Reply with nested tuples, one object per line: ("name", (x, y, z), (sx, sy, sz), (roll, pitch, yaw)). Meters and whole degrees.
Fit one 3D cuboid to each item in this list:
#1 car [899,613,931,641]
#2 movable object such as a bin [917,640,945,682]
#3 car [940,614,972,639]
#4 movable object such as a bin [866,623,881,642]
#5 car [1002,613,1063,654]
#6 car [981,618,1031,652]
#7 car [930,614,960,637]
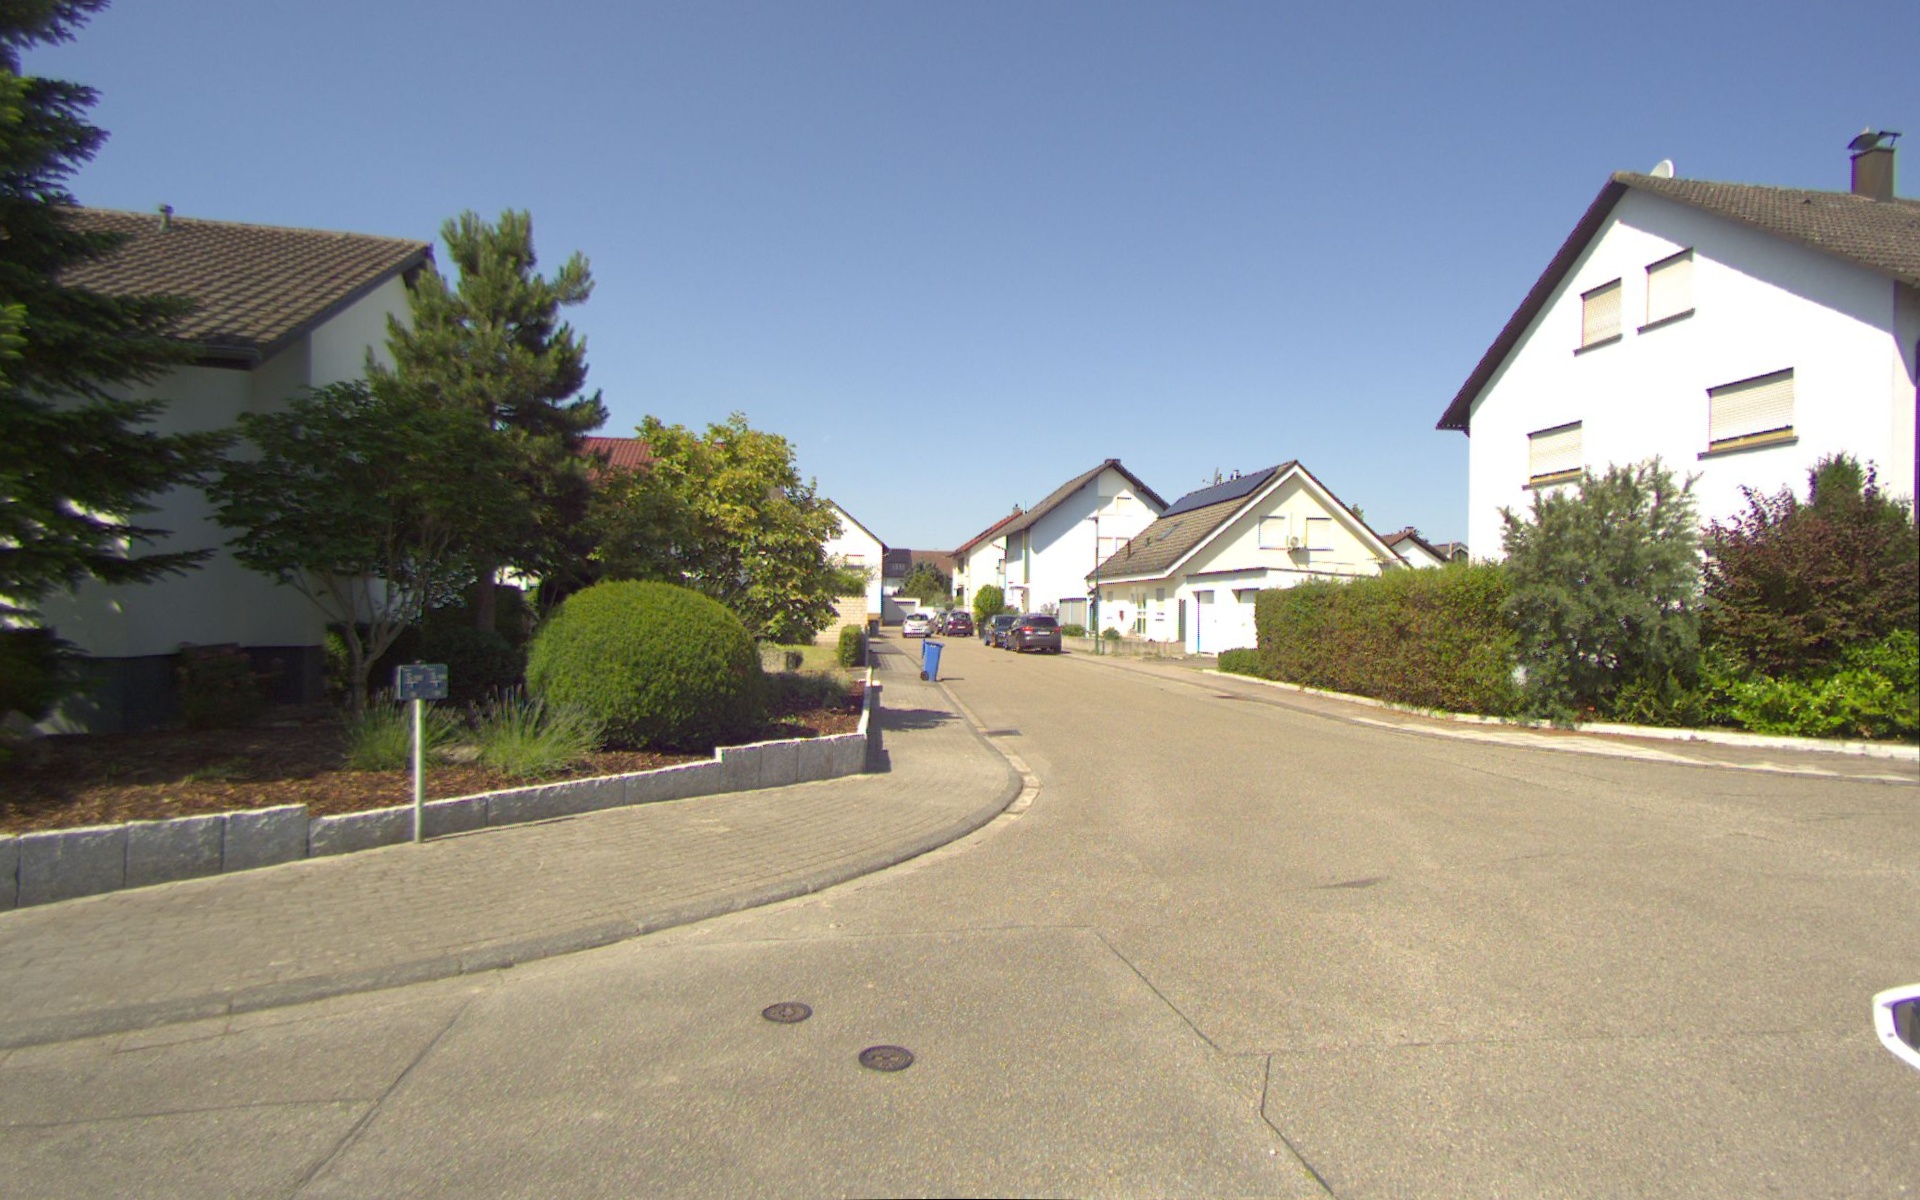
("car", (-2.776, 1.612, 60.816), (1.620, 1.602, 3.805), (1, -1, -7))
("movable object such as a bin", (-0.672, 1.407, 23.205), (0.574, 0.928, 0.597), (2, -1, -7))
("car", (-0.302, 1.724, 66.942), (1.620, 1.602, 4.142), (1, -1, -7))
("movable object such as a bin", (-5.045, 1.893, 58.695), (0.806, 1.078, 0.610), (0, 0, -8))
("car", (2.891, 1.321, 40.699), (1.617, 1.498, 3.994), (2, 0, -8))
("car", (2.073, 1.591, 46.614), (1.690, 1.457, 4.499), (1, -1, -6))
("car", (-1.092, 1.834, 71.857), (1.620, 1.566, 4.041), (1, -1, -9))
